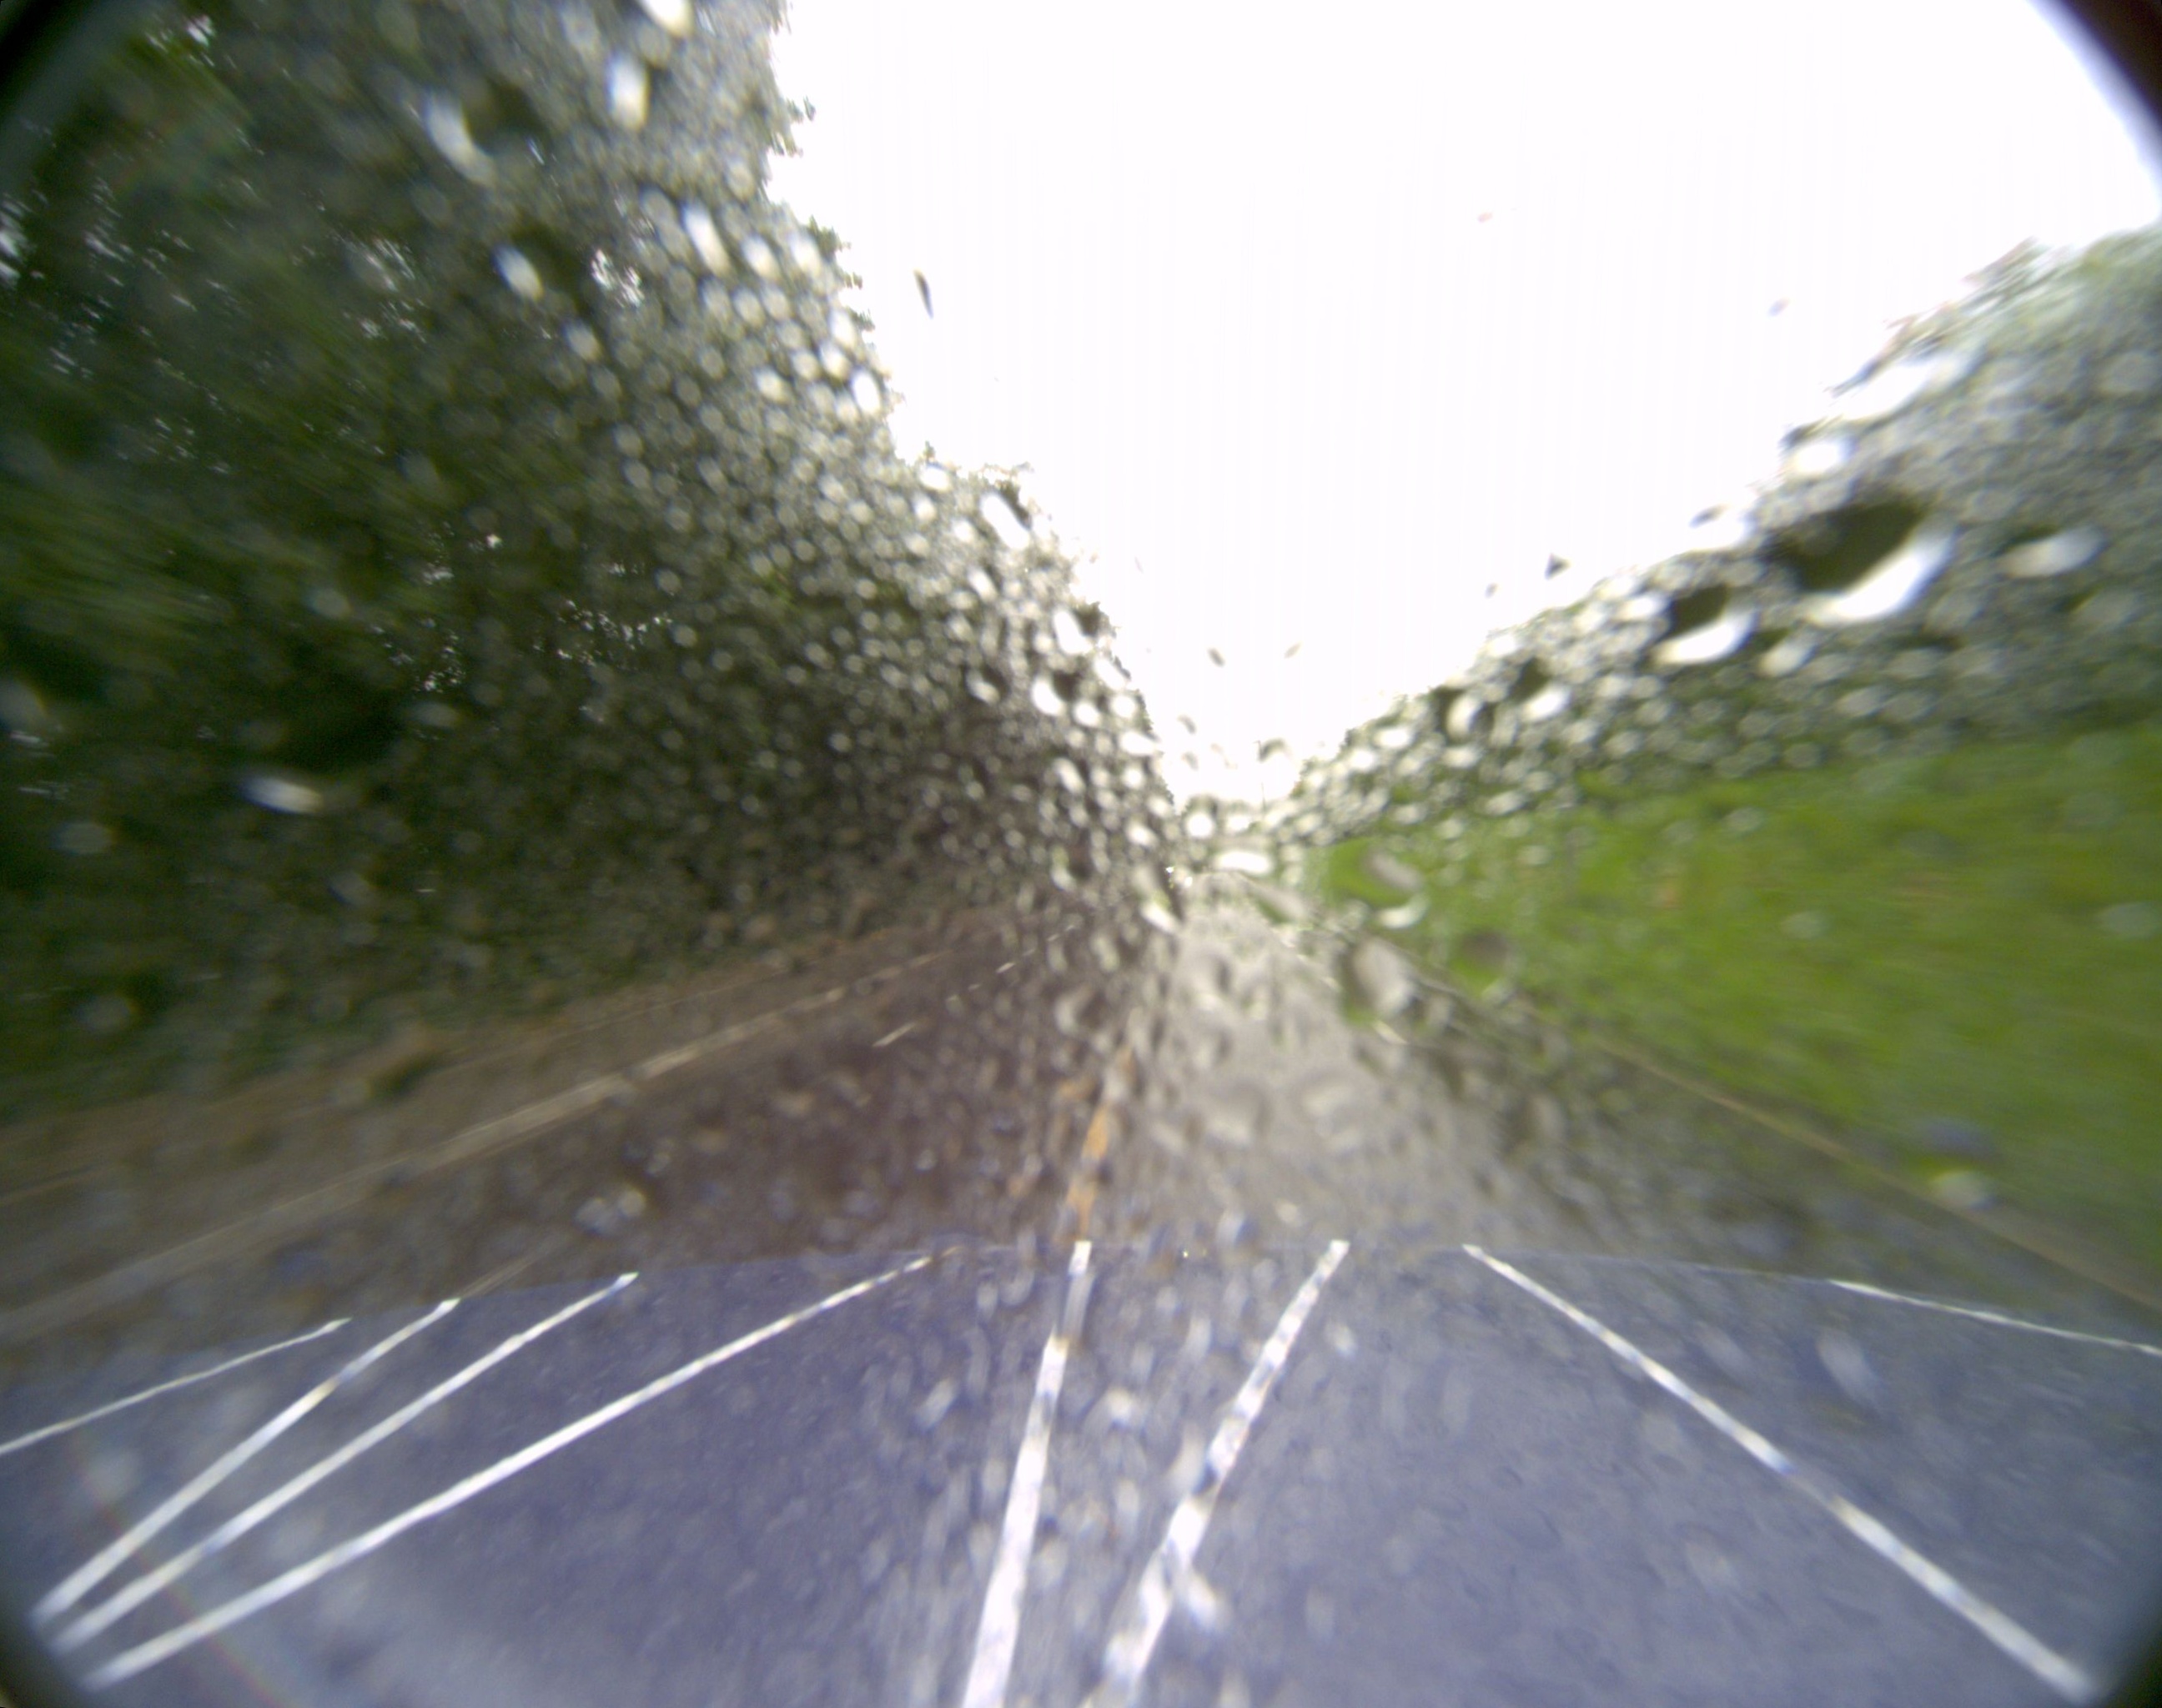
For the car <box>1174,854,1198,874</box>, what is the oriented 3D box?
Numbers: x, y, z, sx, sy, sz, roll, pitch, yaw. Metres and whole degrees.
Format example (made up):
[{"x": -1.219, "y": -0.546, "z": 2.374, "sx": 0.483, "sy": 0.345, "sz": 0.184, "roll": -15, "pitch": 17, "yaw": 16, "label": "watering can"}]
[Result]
[{"x": 8.681, "y": 0.821, "z": 62.476, "sx": 1.797, "sy": 1.543, "sz": 4.003, "roll": -1, "pitch": 0, "yaw": 10, "label": "car"}]
